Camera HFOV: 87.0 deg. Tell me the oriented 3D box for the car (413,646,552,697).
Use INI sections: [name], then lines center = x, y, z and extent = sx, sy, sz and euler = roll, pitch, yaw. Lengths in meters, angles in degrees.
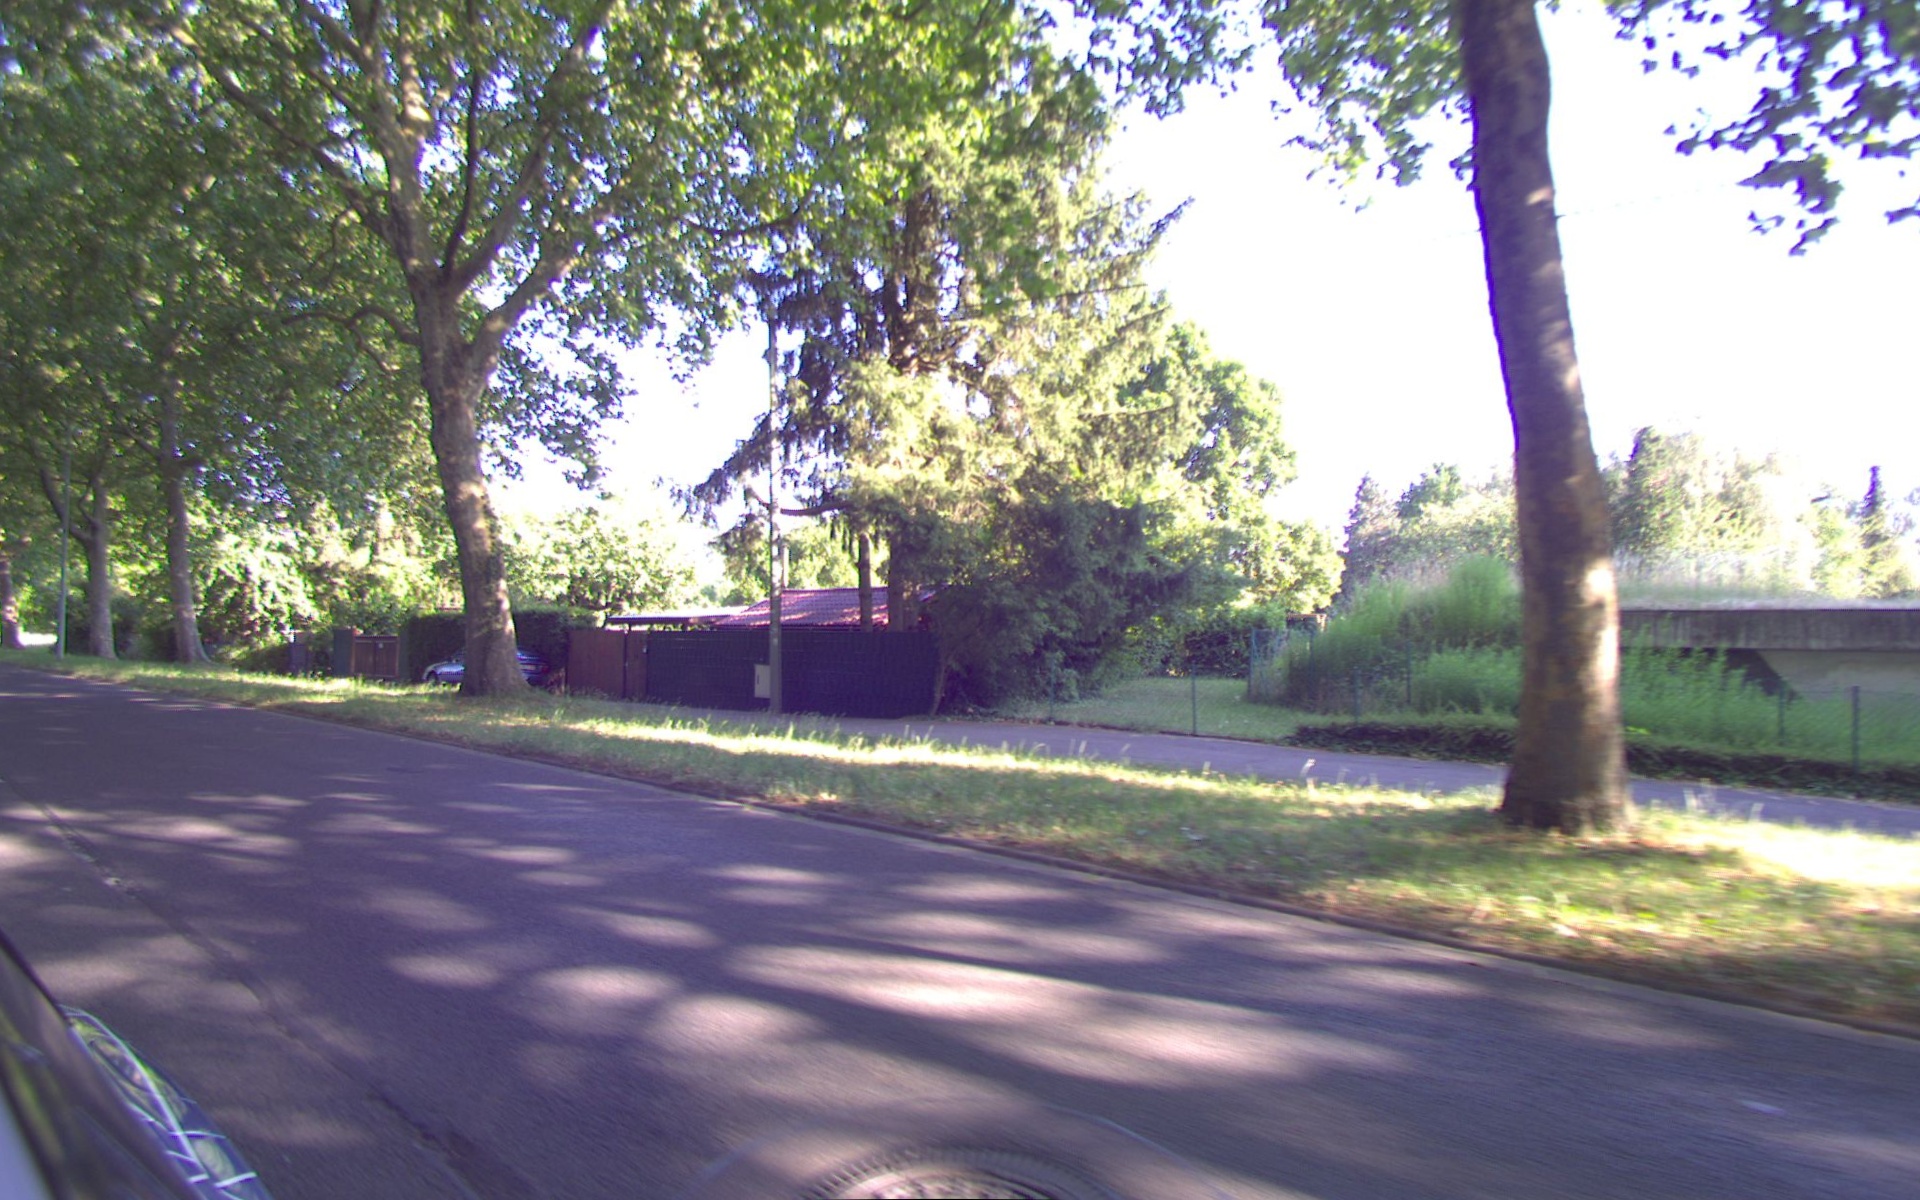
[car]
center = -13.050, 1.913, 27.593
extent = 3.992, 1.314, 1.736
euler = -2, -4, 36
